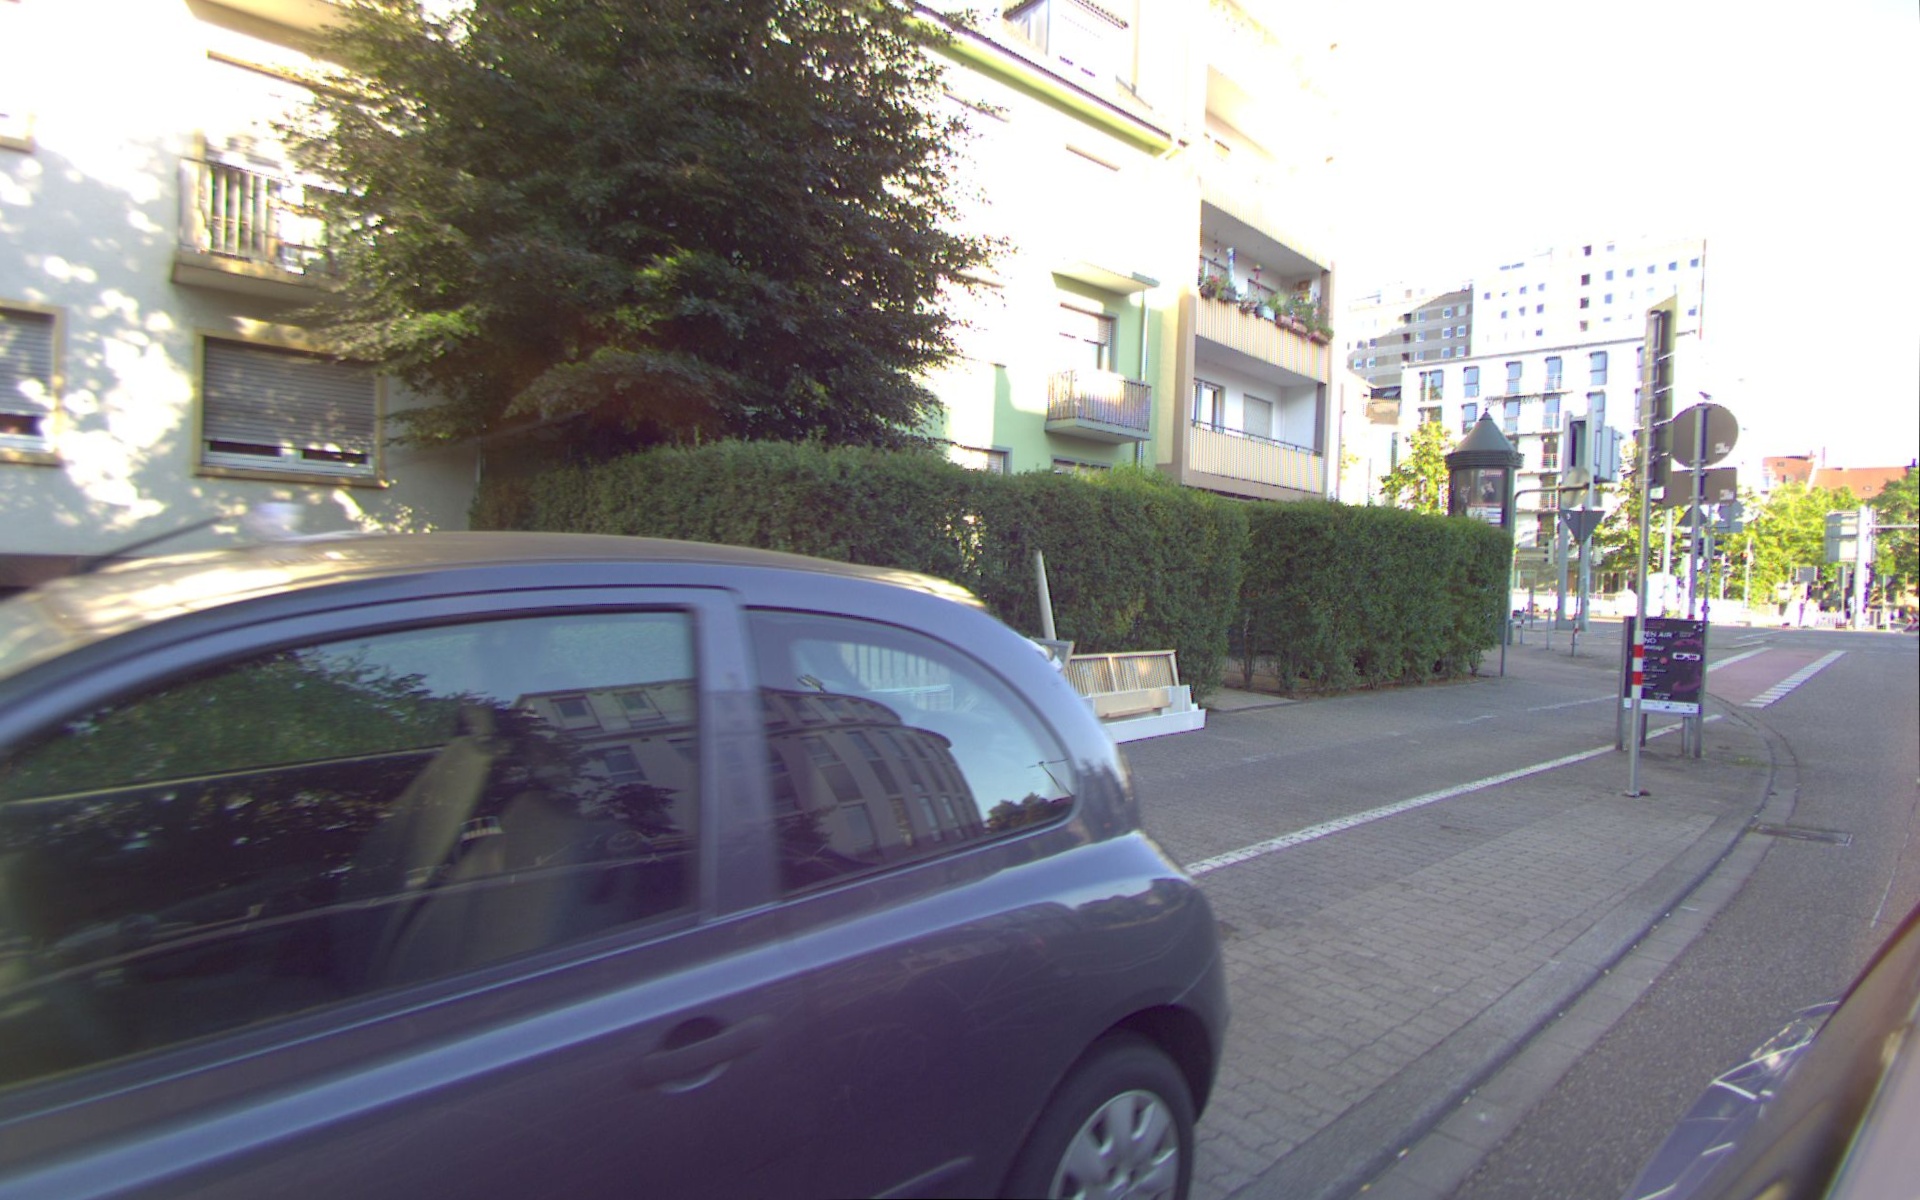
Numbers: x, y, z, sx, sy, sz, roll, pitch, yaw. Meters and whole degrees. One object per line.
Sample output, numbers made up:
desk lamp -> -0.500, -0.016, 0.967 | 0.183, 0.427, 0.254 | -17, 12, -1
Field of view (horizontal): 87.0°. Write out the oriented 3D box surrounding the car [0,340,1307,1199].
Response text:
car -> -1.186, 0.538, 1.671 | 3.582, 1.570, 1.736 | 1, 2, -41

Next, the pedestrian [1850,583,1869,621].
pedestrian -> 45.353, 0.095, 51.025 | 0.493, 1.900, 0.598 | 2, 1, 20
